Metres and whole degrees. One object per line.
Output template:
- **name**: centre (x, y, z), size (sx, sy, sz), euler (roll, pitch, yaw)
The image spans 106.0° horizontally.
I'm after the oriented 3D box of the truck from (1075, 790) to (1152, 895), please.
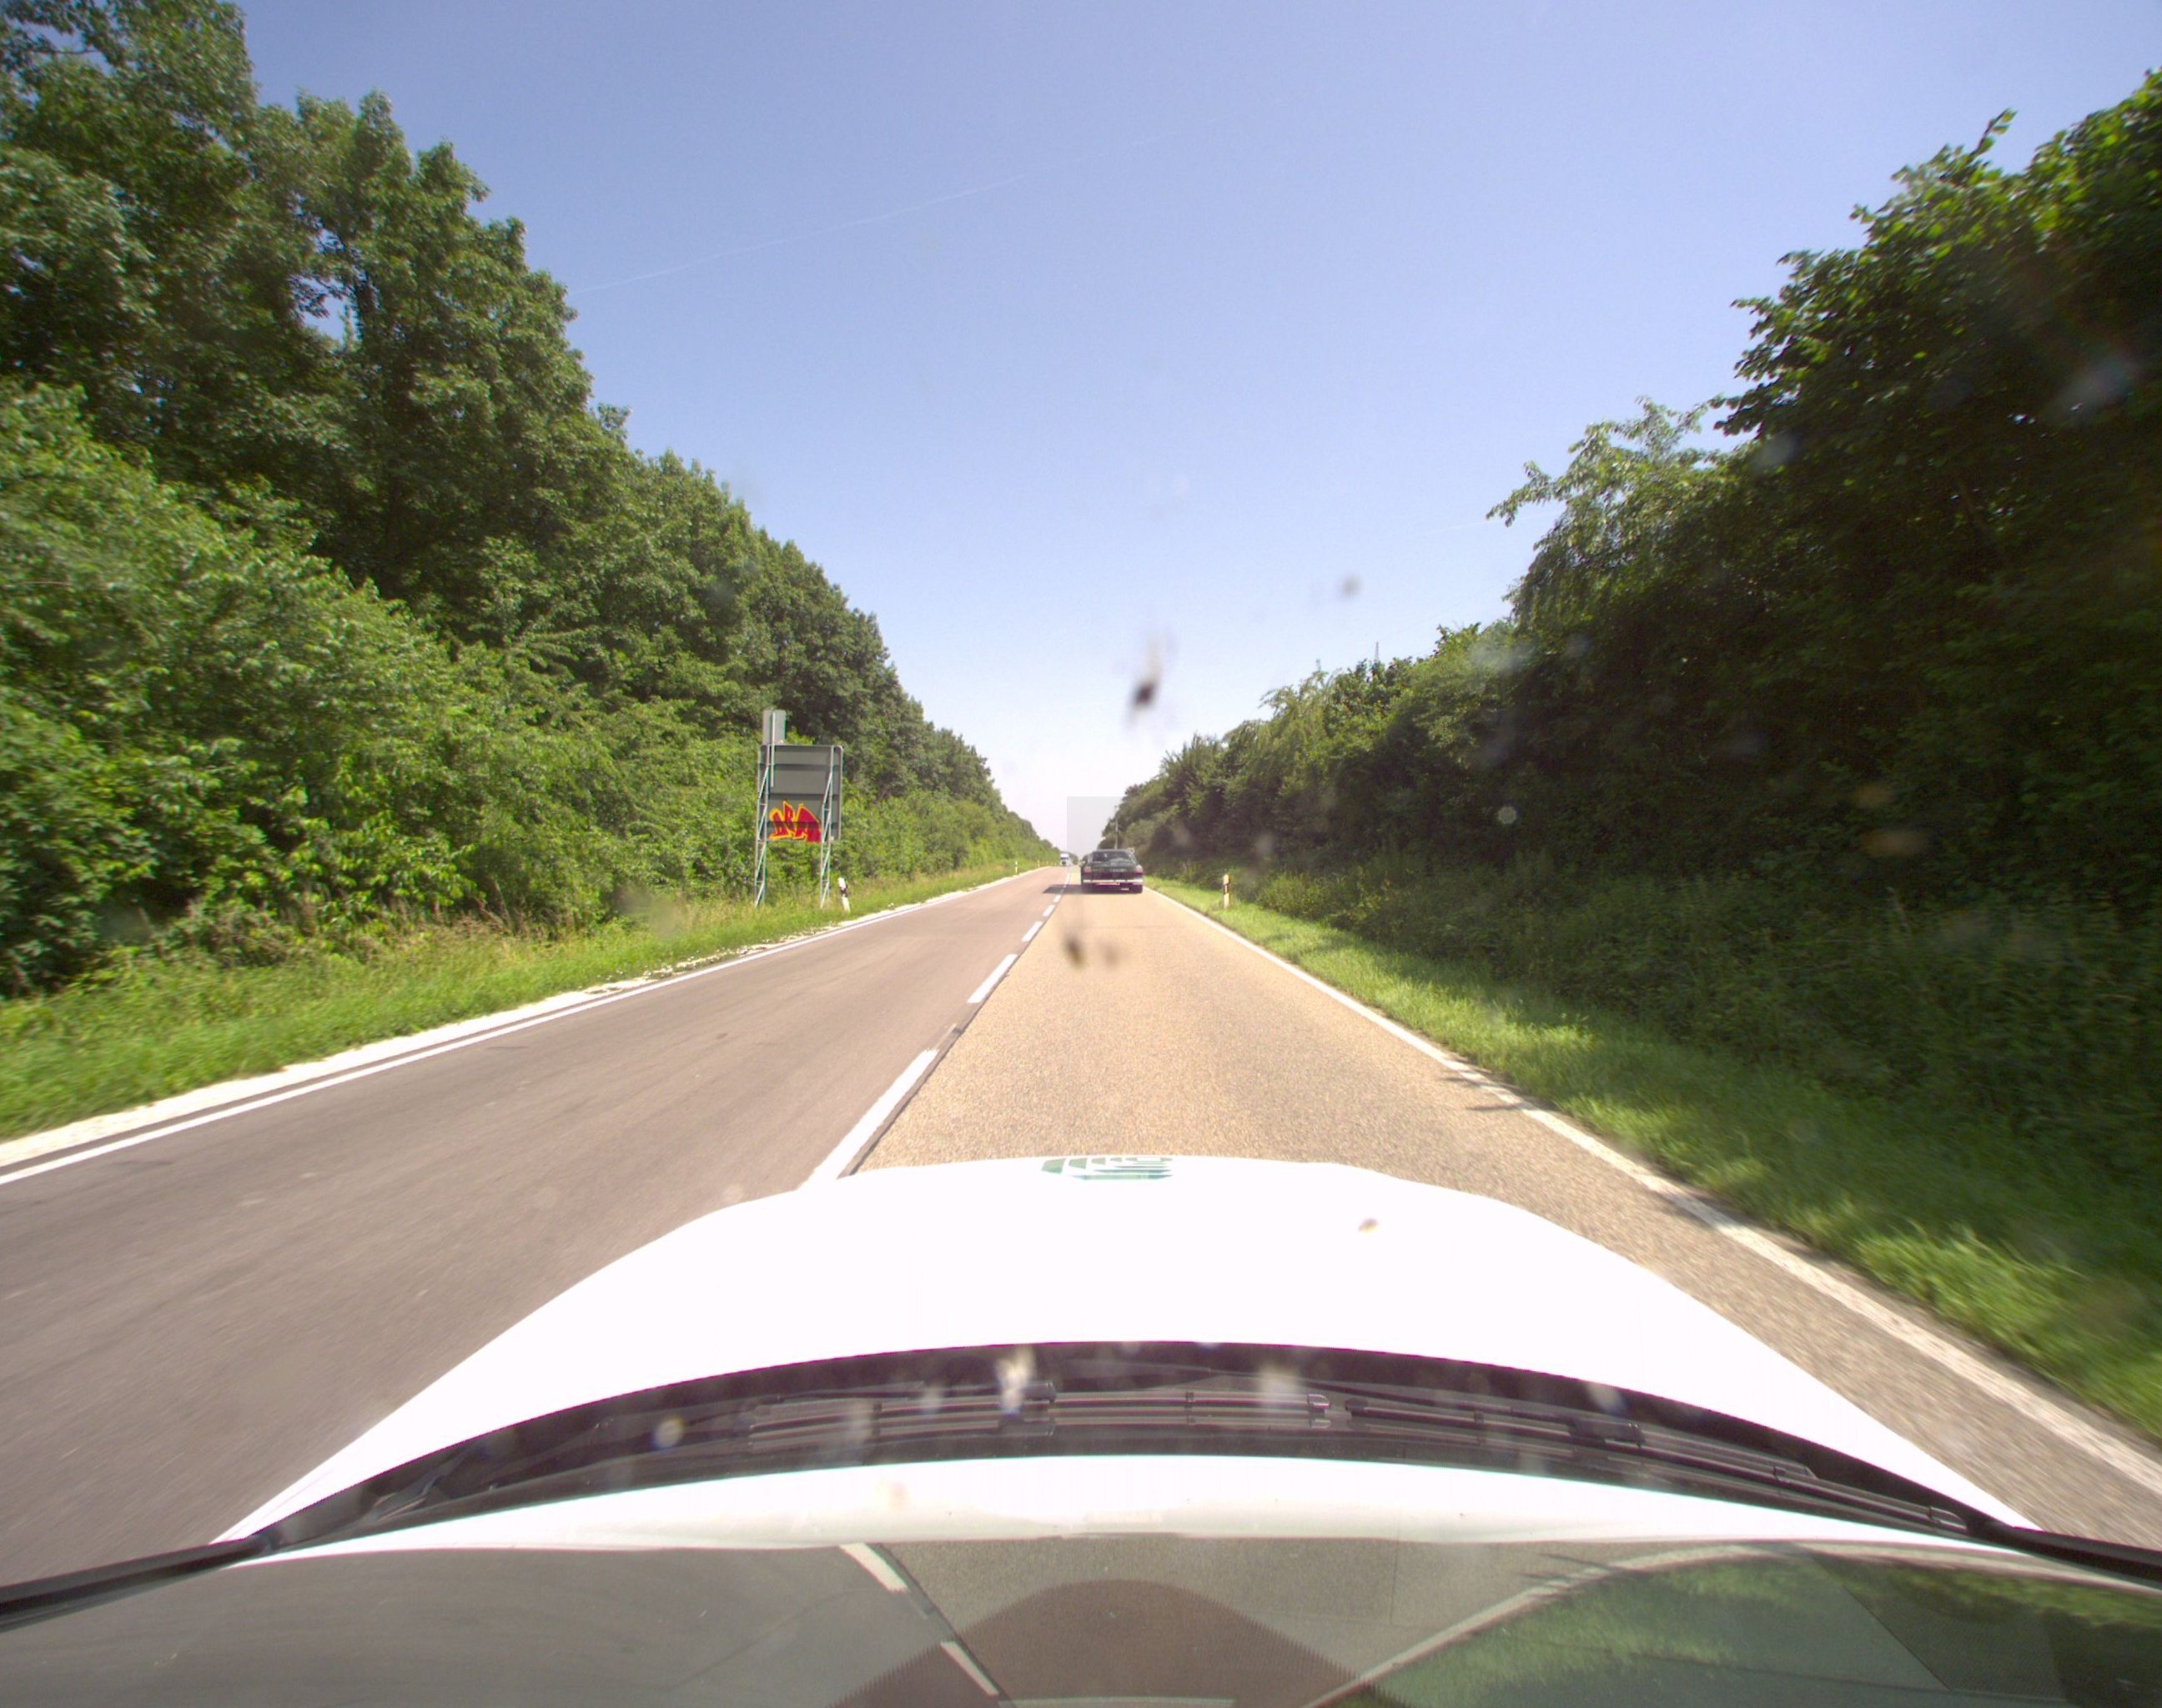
- **truck**: centre (1.222, -0.446, 36.998), size (2.884, 3.962, 11.930), euler (-1, 0, 0)
